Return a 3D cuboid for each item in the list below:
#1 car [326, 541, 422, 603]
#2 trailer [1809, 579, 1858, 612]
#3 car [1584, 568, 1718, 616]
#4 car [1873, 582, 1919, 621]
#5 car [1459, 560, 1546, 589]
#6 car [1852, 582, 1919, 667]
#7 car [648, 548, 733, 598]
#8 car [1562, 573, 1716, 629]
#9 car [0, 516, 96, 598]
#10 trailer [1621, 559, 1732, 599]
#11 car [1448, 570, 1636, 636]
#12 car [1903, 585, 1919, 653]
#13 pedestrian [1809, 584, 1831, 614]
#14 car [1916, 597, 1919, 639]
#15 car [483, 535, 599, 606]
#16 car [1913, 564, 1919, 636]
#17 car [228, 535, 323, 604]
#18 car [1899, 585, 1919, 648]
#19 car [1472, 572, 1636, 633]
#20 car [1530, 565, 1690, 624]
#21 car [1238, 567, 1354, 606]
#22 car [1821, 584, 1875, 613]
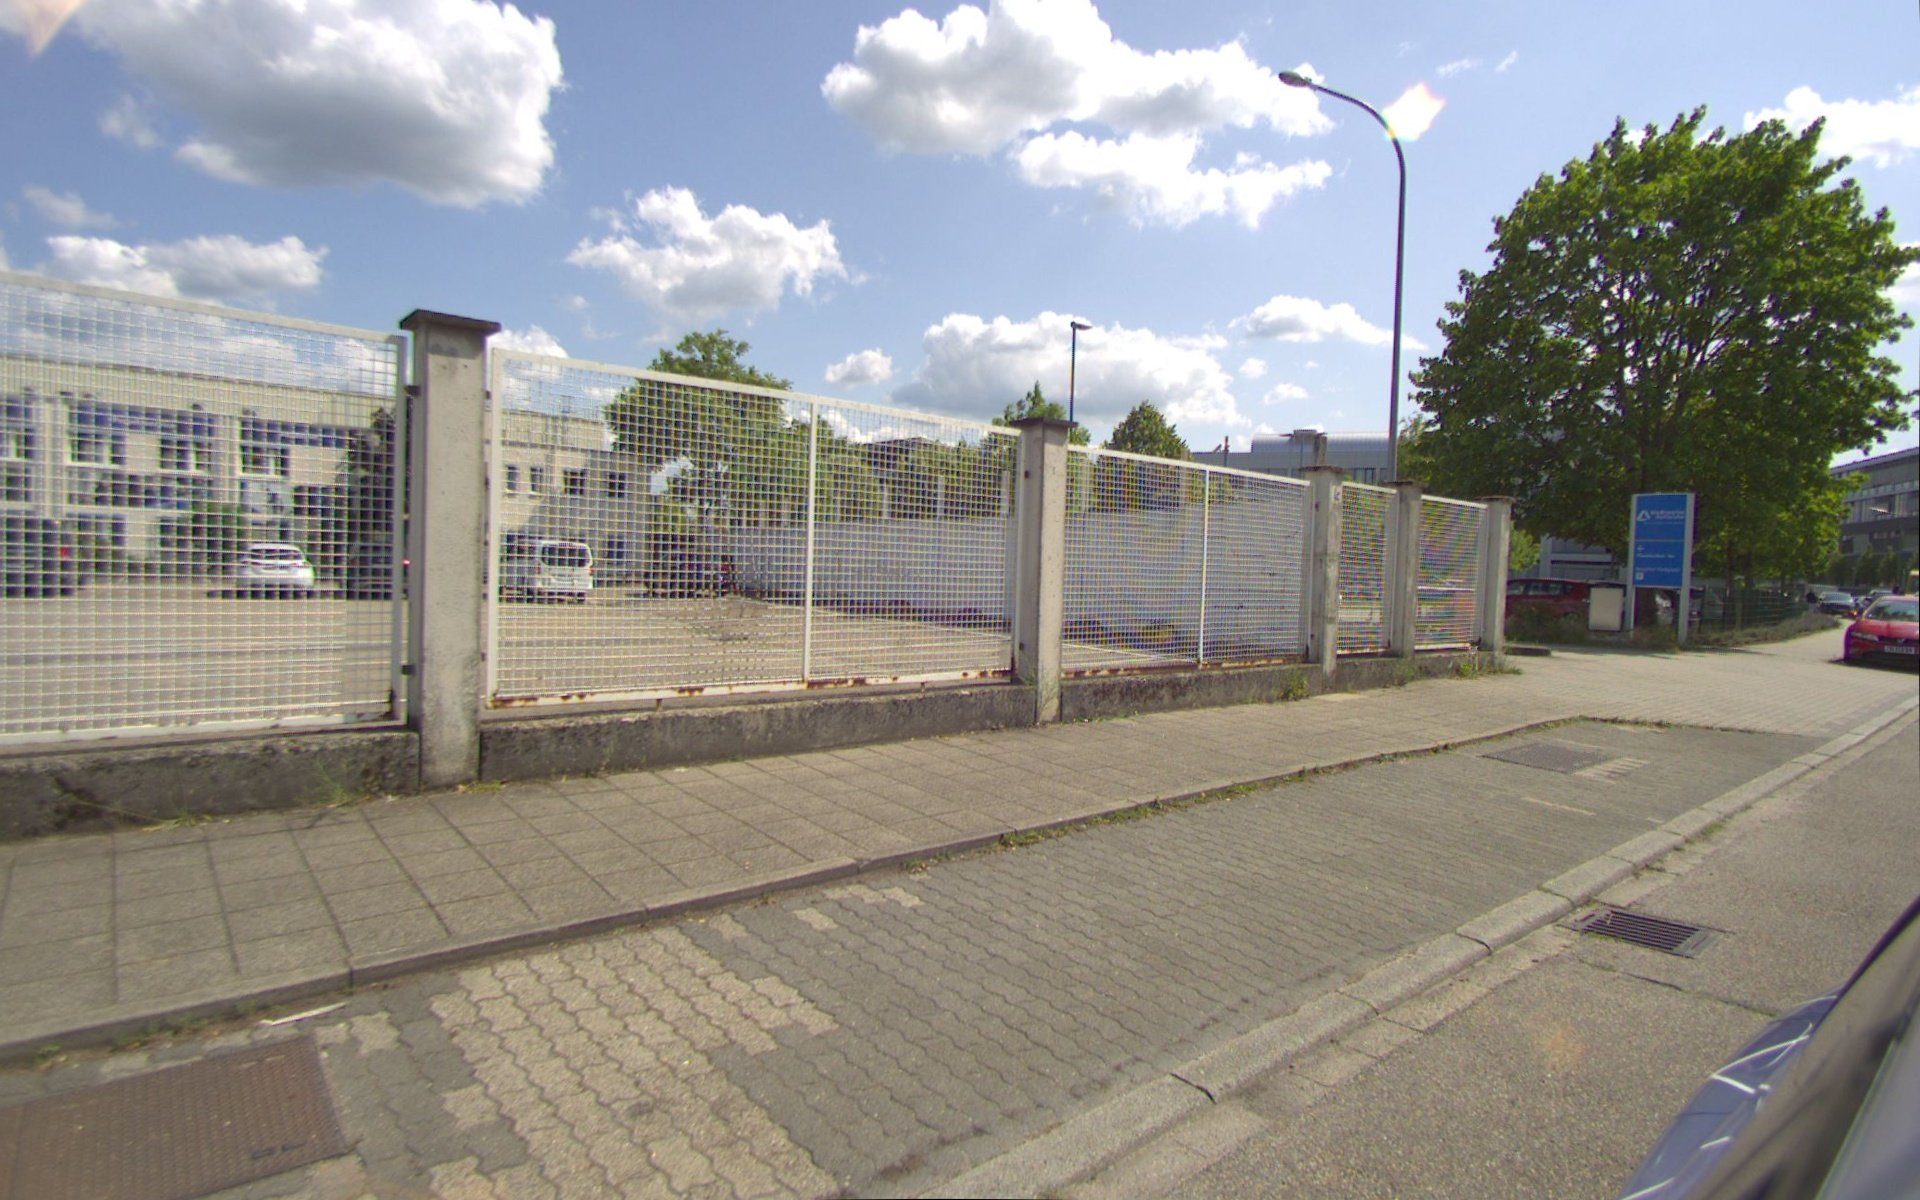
[{"bbox_3d":[-17.157,-0.855,29.570,1.900,1.660,3.921,-1,3,-38],"label":"car"},{"bbox_3d":[60.393,-0.343,70.010,1.738,2.092,3.904,6,4,31],"label":"trailer"},{"bbox_3d":[27.758,-0.342,40.718,4.310,1.641,1.739,5,3,38],"label":"car"},{"bbox_3d":[47.831,0.061,51.207,1.846,1.787,5.010,5,4,37],"label":"car"},{"bbox_3d":[36.110,-1.730,67.436,4.839,1.788,1.890,3,3,37],"label":"car"},{"bbox_3d":[19.385,0.481,20.161,4.150,1.503,1.759,0,6,-41],"label":"car"},{"bbox_3d":[-9.613,-0.934,35.929,1.879,1.671,4.003,0,1,-31],"label":"car"},{"bbox_3d":[22.690,-0.020,33.914,1.876,1.612,3.884,-1,3,-40],"label":"car"},{"bbox_3d":[-23.107,-1.057,25.448,1.900,1.876,4.401,1,1,-38],"label":"car"},{"bbox_3d":[41.052,-1.213,58.103,5.033,2.108,2.035,3,2,36],"label":"trailer"},{"bbox_3d":[16.500,0.026,28.853,1.876,1.612,4.219,-1,3,-40],"label":"car"},{"bbox_3d":[23.259,0.479,23.615,1.701,1.503,3.748,8,6,43],"label":"car"},{"bbox_3d":[51.658,-0.080,60.803,0.718,1.713,0.732,7,4,30],"label":"pedestrian"},{"bbox_3d":[31.472,0.478,31.846,1.876,1.494,5.087,7,5,43],"label":"car"},{"bbox_3d":[-13.629,-1.013,32.751,1.902,1.971,5.064,-1,5,-41],"label":"car"},{"bbox_3d":[36.514,0.026,37.073,2.158,2.494,6.536,5,4,43],"label":"car"},{"bbox_3d":[-19.100,-0.888,28.170,1.900,1.659,3.922,-1,5,-38],"label":"car"},{"bbox_3d":[27.137,0.491,27.560,4.491,1.626,1.836,0,6,-43],"label":"car"},{"bbox_3d":[18.147,0.026,31.036,1.876,1.612,3.884,-1,3,-40],"label":"car"},{"bbox_3d":[20.670,-0.217,32.310,1.876,1.657,3.884,-1,3,-40],"label":"car"},{"bbox_3d":[13.169,-0.557,39.896,1.810,1.413,4.017,0,2,-37],"label":"car"},{"bbox_3d":[58.136,-0.155,66.335,1.854,1.702,4.656,5,4,32],"label":"car"}]
